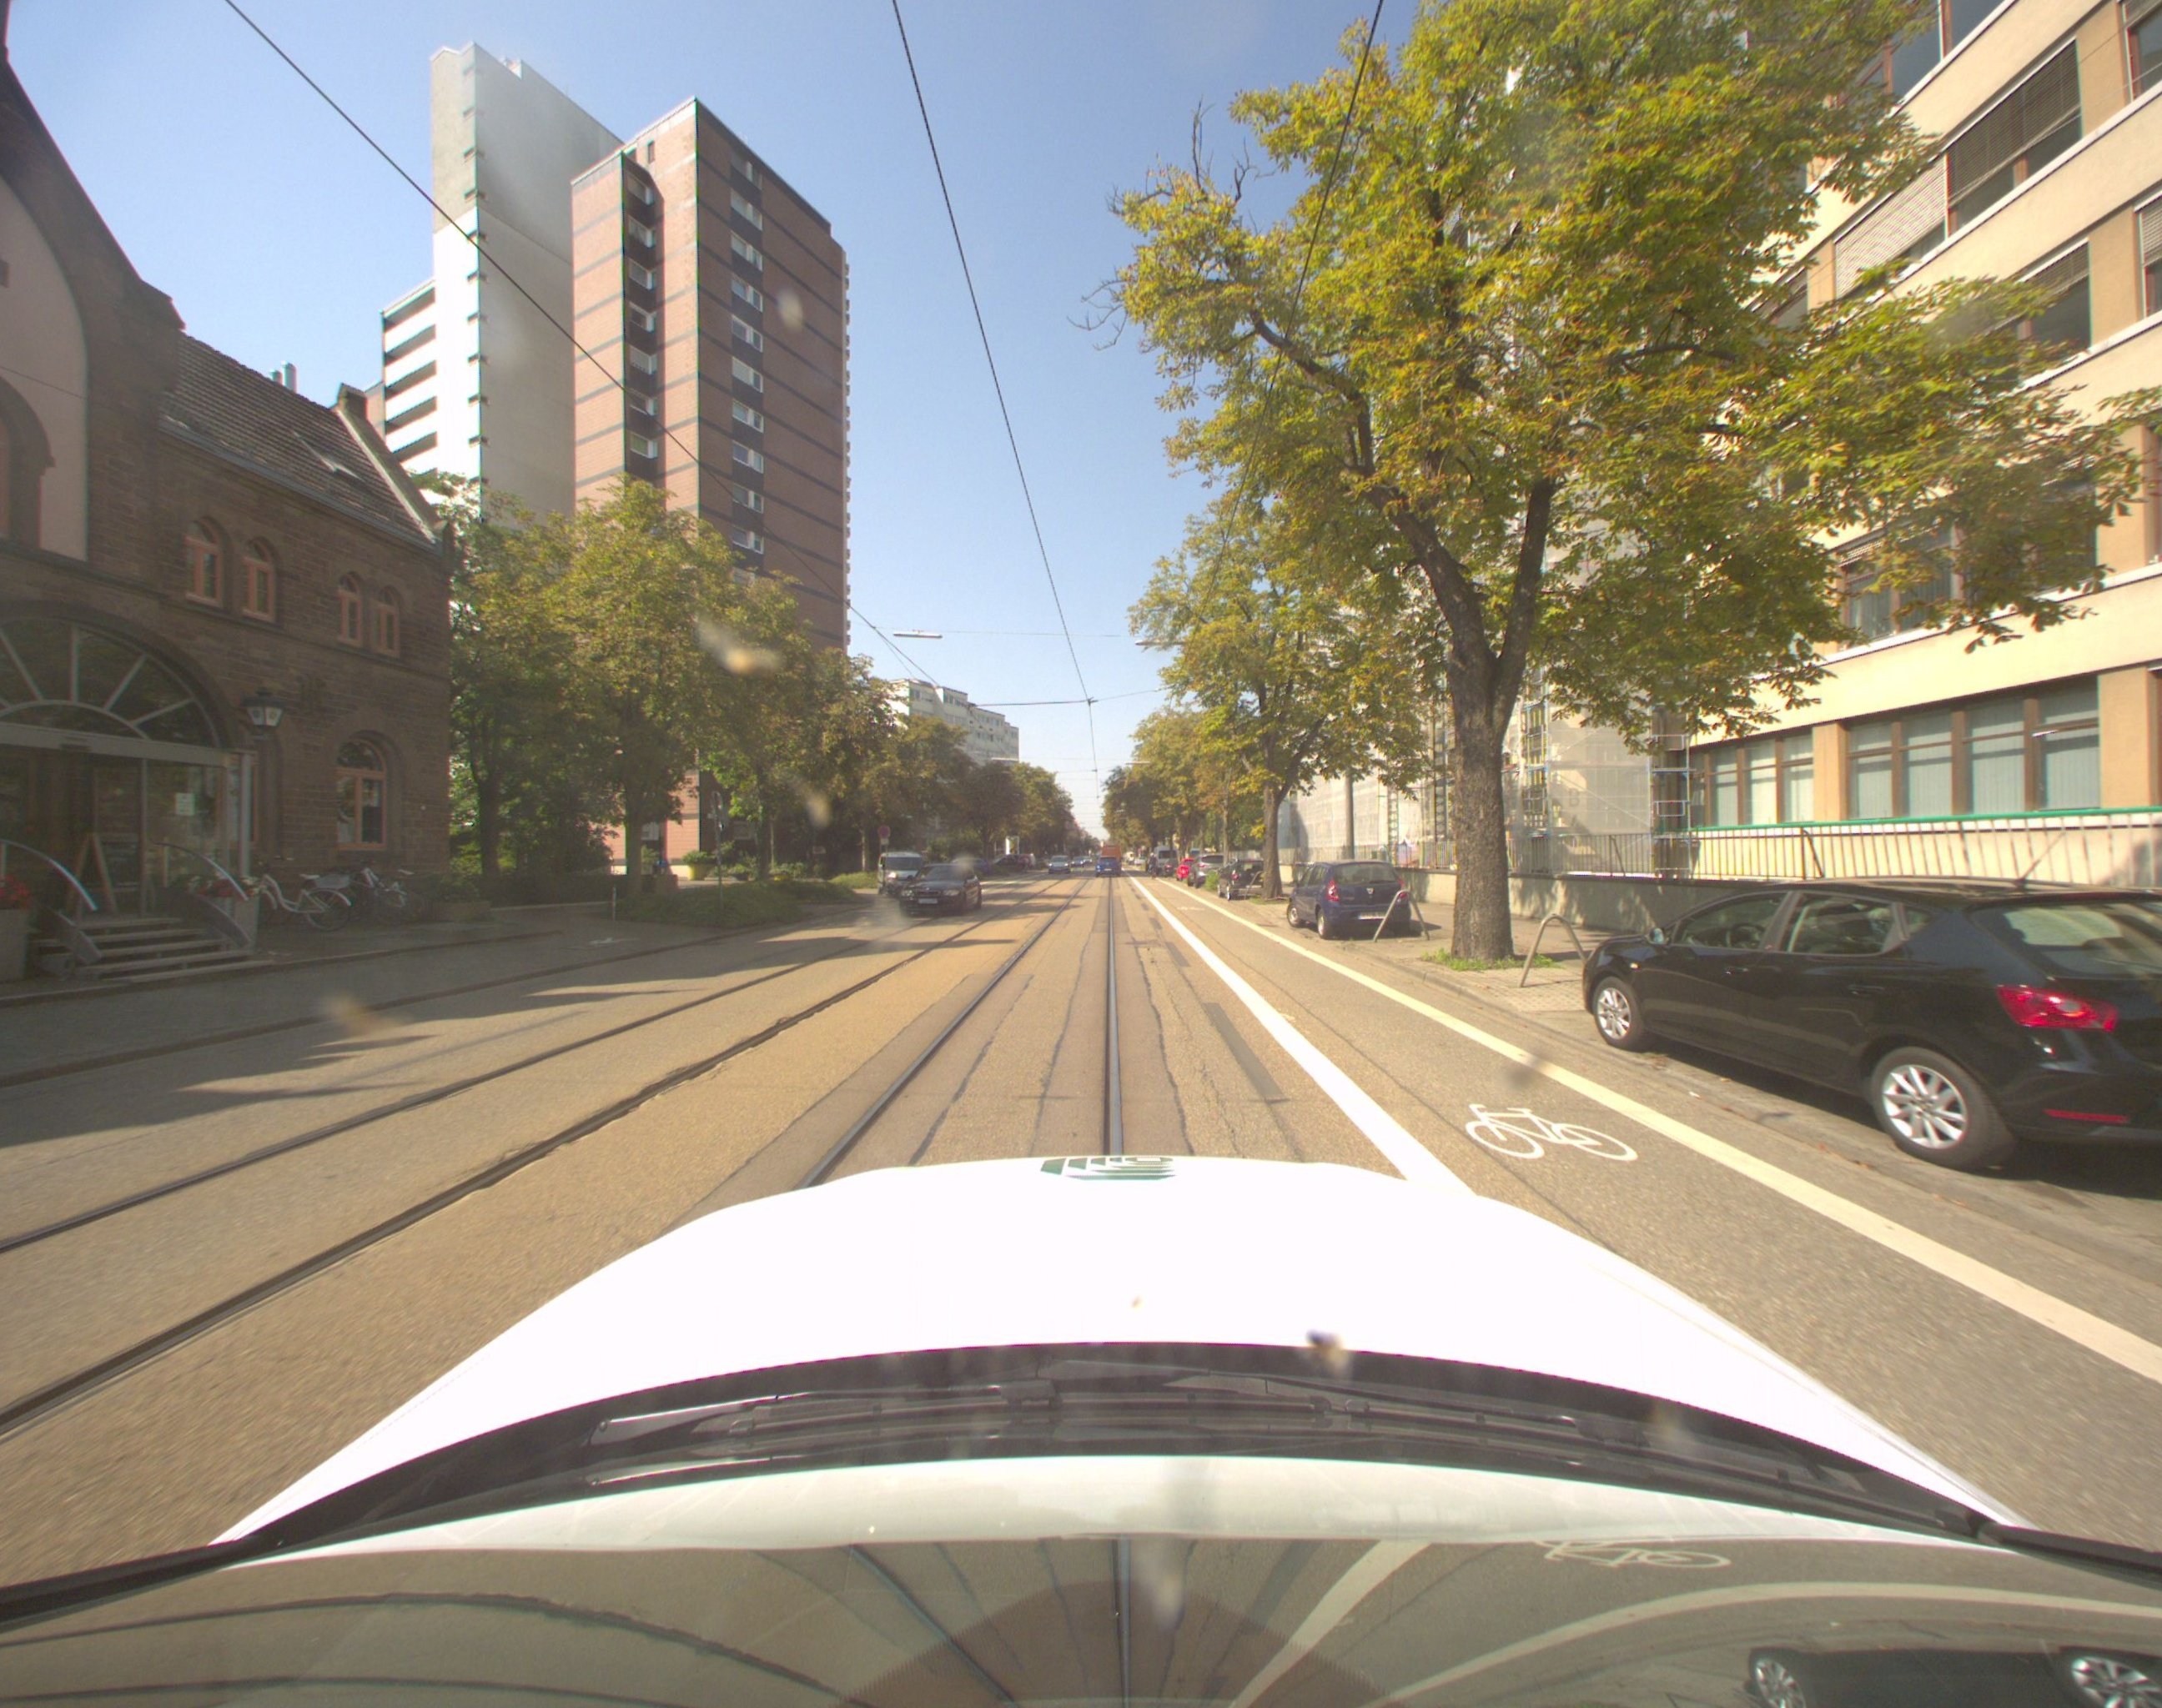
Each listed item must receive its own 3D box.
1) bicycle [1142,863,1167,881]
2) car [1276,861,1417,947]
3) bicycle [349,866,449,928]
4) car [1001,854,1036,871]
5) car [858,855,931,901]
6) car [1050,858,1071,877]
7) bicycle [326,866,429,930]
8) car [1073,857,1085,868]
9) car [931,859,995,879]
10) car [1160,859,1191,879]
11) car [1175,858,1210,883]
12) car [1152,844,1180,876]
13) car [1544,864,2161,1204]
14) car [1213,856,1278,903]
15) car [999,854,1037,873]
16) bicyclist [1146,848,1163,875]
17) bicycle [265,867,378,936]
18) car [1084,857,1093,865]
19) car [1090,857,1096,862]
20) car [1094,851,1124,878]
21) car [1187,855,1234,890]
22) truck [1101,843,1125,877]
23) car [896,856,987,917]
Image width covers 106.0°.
[{"bbox_3d":[4.885,1.166,54.458,1.396,1.134,4.002,-1,0,2],"label":"bicycle"},{"bbox_3d":[5.403,0.941,17.145,1.736,1.556,4.219,-1,0,3],"label":"car"},{"bbox_3d":[-12.960,0.806,15.489,1.447,1.093,0.399,3,-1,-2],"label":"bicycle"},{"bbox_3d":[-7.758,1.070,101.161,4.021,2.014,1.835,0,-1,-41],"label":"car"},{"bbox_3d":[-7.815,0.936,33.880,1.759,1.796,3.959,0,0,-32],"label":"car"},{"bbox_3d":[-1.856,1.251,74.759,1.774,1.684,4.348,0,0,1],"label":"car"},{"bbox_3d":[-12.974,0.805,15.038,1.447,1.093,0.399,3,-1,-2],"label":"bicycle"},{"bbox_3d":[-0.266,1.168,113.507,1.628,1.585,4.189,0,0,1],"label":"car"},{"bbox_3d":[-9.092,1.133,62.681,4.587,1.552,1.985,0,0,-22],"label":"car"},{"bbox_3d":[6.993,1.084,60.852,1.901,1.431,4.293,0,0,1],"label":"car"},{"bbox_3d":[6.921,0.987,50.707,1.734,1.462,3.685,0,0,1],"label":"car"},{"bbox_3d":[7.389,0.507,71.447,1.986,2.755,5.762,0,0,1],"label":"car"},{"bbox_3d":[5.142,0.798,5.594,1.652,1.408,4.219,-1,0,3],"label":"car"},{"bbox_3d":[6.030,0.888,30.239,1.628,1.585,4.189,0,0,1],"label":"car"},{"bbox_3d":[-6.979,1.046,90.461,4.021,2.014,1.835,0,-1,-41],"label":"car"},{"bbox_3d":[4.916,0.485,54.443,1.028,1.812,1.017,0,0,2],"label":"bicyclist"},{"bbox_3d":[-12.962,0.802,13.913,1.447,1.093,0.399,3,-1,-2],"label":"bicycle"},{"bbox_3d":[1.565,1.379,167.292,1.892,1.562,4.123,0,0,1],"label":"car"},{"bbox_3d":[3.720,1.740,254.873,1.741,1.796,4.001,0,0,1],"label":"car"},{"bbox_3d":[2.091,0.782,60.206,2.127,1.858,5.571,-1,0,2],"label":"car"},{"bbox_3d":[6.334,0.866,40.333,1.734,1.668,4.362,0,0,1],"label":"car"},{"bbox_3d":[3.137,0.588,79.070,2.127,3.124,6.088,-1,0,2],"label":"truck"},{"bbox_3d":[-3.839,0.852,23.096,1.674,1.571,4.209,0,0,3],"label":"car"}]
